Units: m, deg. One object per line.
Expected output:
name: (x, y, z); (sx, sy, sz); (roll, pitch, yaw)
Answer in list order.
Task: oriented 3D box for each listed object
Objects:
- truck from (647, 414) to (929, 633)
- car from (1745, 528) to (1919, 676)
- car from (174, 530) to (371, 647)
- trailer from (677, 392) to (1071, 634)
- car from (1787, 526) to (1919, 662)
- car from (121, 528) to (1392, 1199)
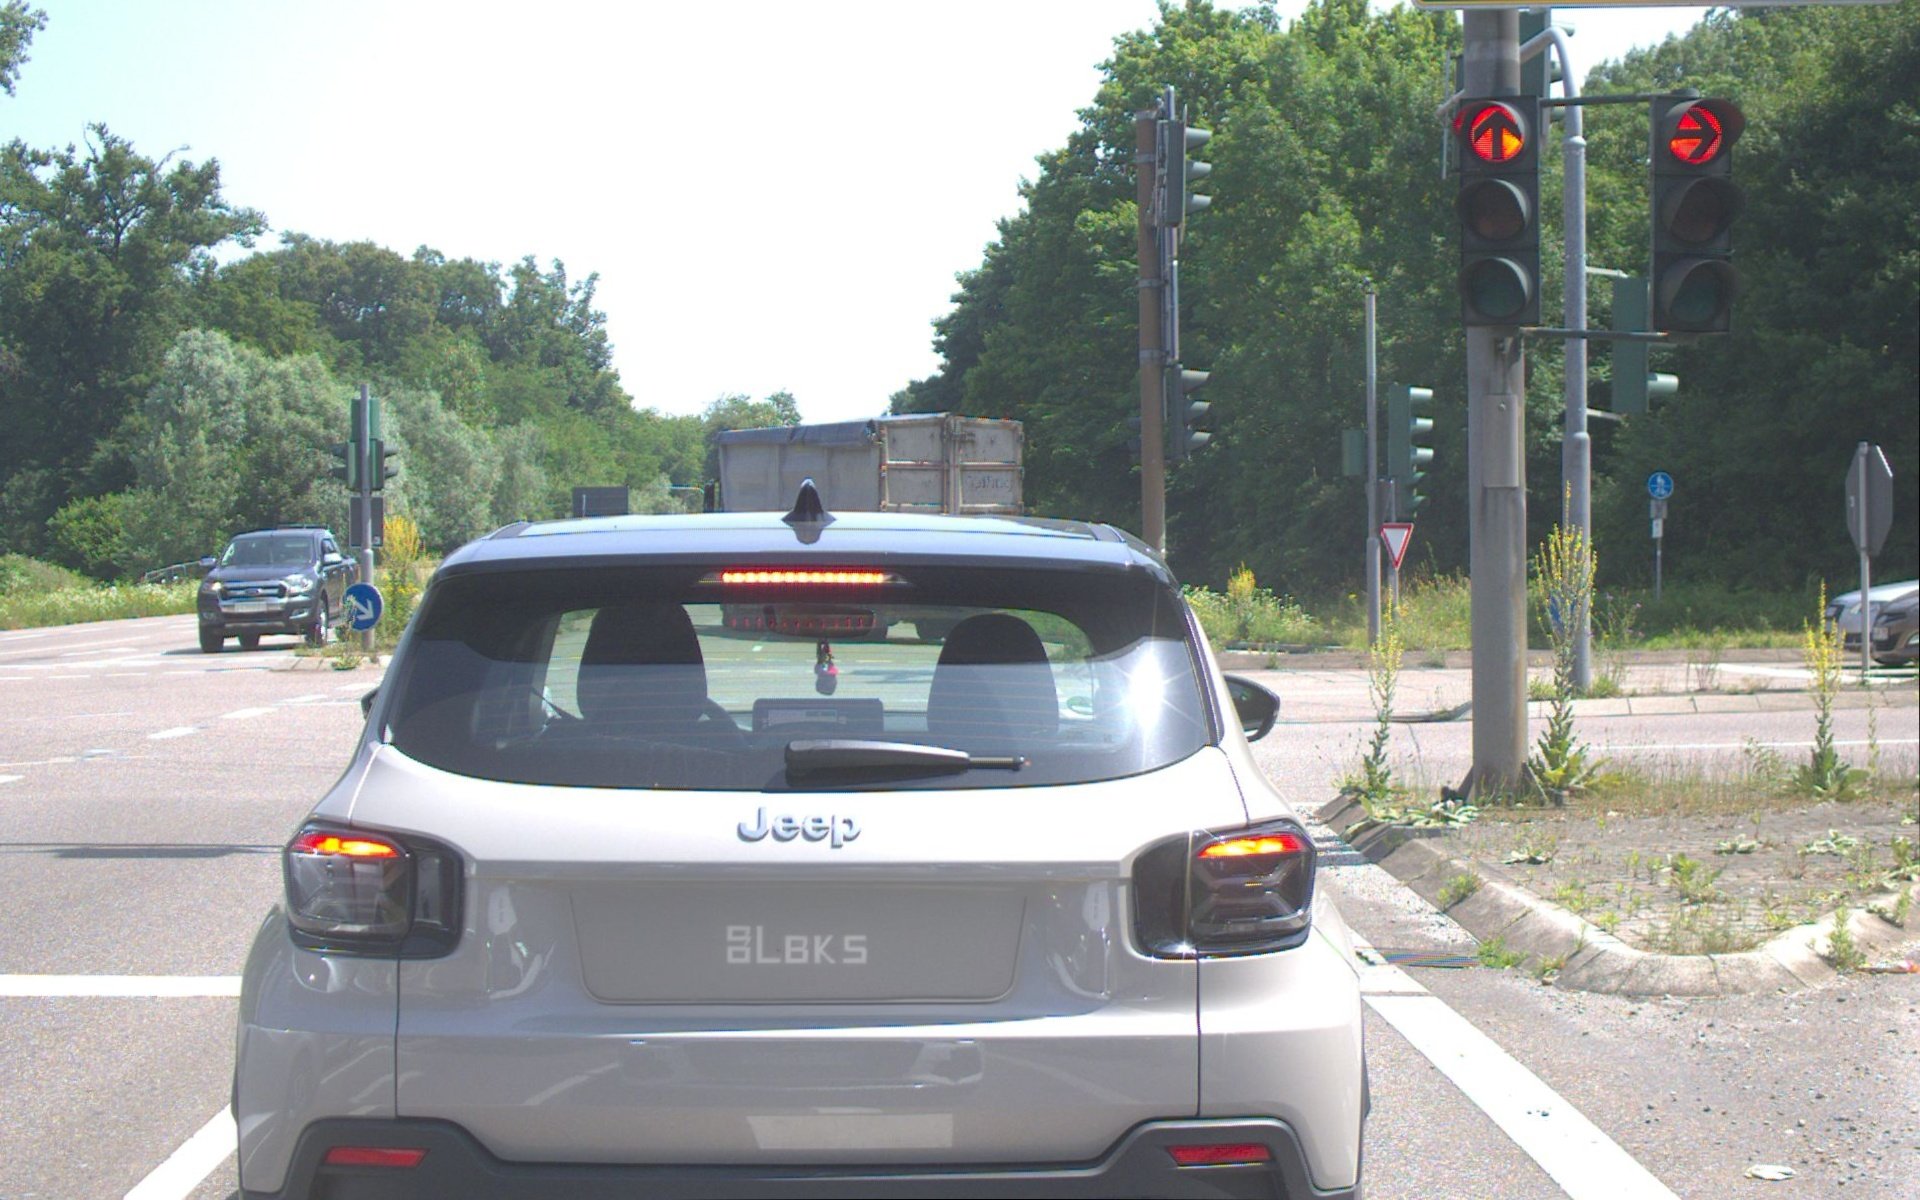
truck: (-3.407, -1.432, 66.248); (3.332, 3.975, 6.535); (1, 1, -23)
car: (10.354, -0.025, 35.228); (4.091, 1.442, 1.996); (-1, 1, -3)
car: (-10.604, -0.216, 53.421); (1.993, 1.672, 5.366); (-2, 1, -1)
trailer: (-1.807, -1.507, 62.272); (3.382, 3.975, 10.807); (1, 1, -23)
car: (12.059, -0.094, 38.844); (4.932, 1.493, 2.020); (-1, 0, 0)
car: (-0.306, 0.631, 6.792); (1.767, 1.529, 4.000); (0, 1, -1)
